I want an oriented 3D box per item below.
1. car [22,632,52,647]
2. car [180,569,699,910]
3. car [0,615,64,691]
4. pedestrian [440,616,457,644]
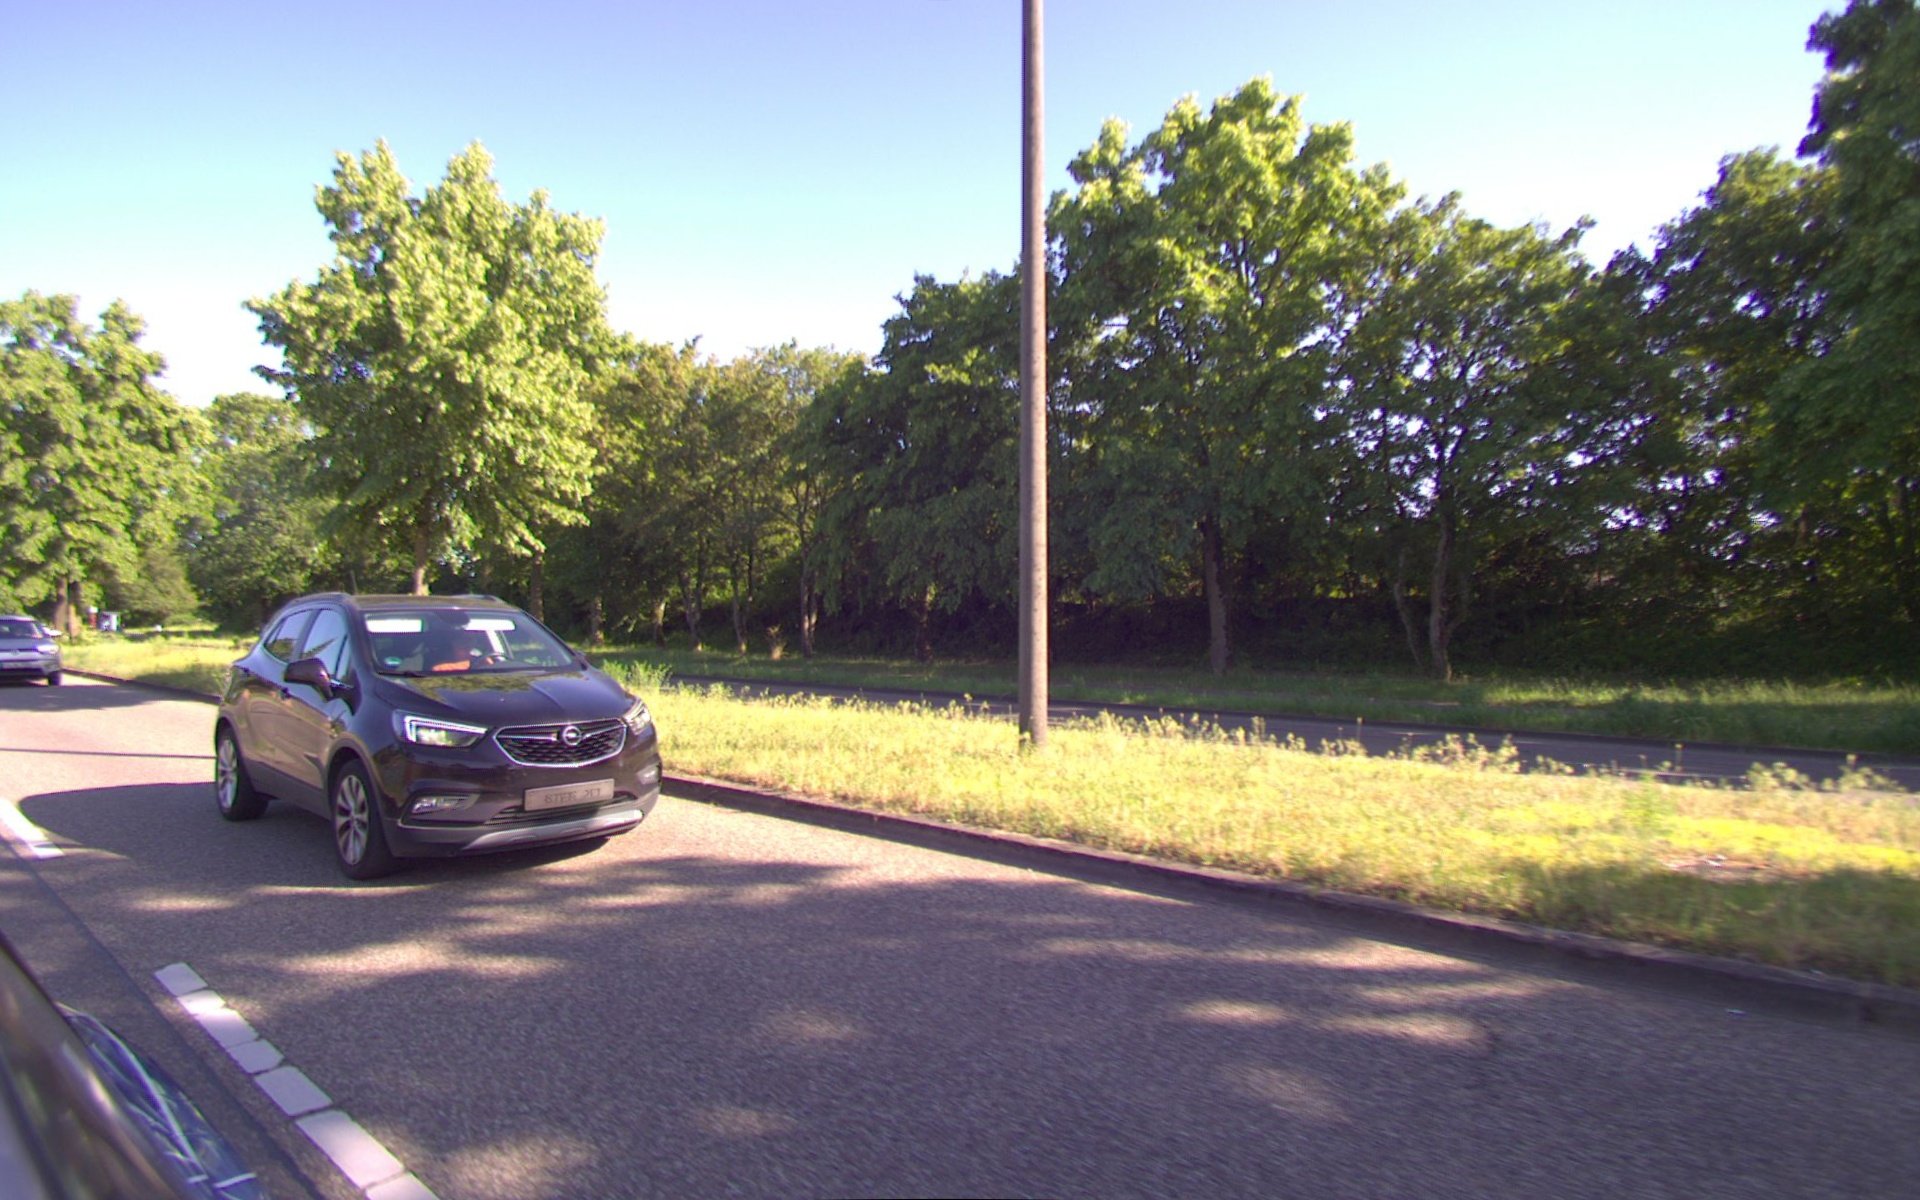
[{"bbox_3d":[-92.762,3.999,101.698,4.343,1.468,1.708,-1,-4,41],"label":"car"},{"bbox_3d":[-3.797,0.707,6.980,4.415,1.644,1.678,-1,-2,41],"label":"car"},{"bbox_3d":[-21.975,1.155,23.095,4.104,1.622,1.766,-1,-2,41],"label":"car"},{"bbox_3d":[-31.643,1.846,62.563,0.679,1.672,0.674,0,2,40],"label":"pedestrian"}]
